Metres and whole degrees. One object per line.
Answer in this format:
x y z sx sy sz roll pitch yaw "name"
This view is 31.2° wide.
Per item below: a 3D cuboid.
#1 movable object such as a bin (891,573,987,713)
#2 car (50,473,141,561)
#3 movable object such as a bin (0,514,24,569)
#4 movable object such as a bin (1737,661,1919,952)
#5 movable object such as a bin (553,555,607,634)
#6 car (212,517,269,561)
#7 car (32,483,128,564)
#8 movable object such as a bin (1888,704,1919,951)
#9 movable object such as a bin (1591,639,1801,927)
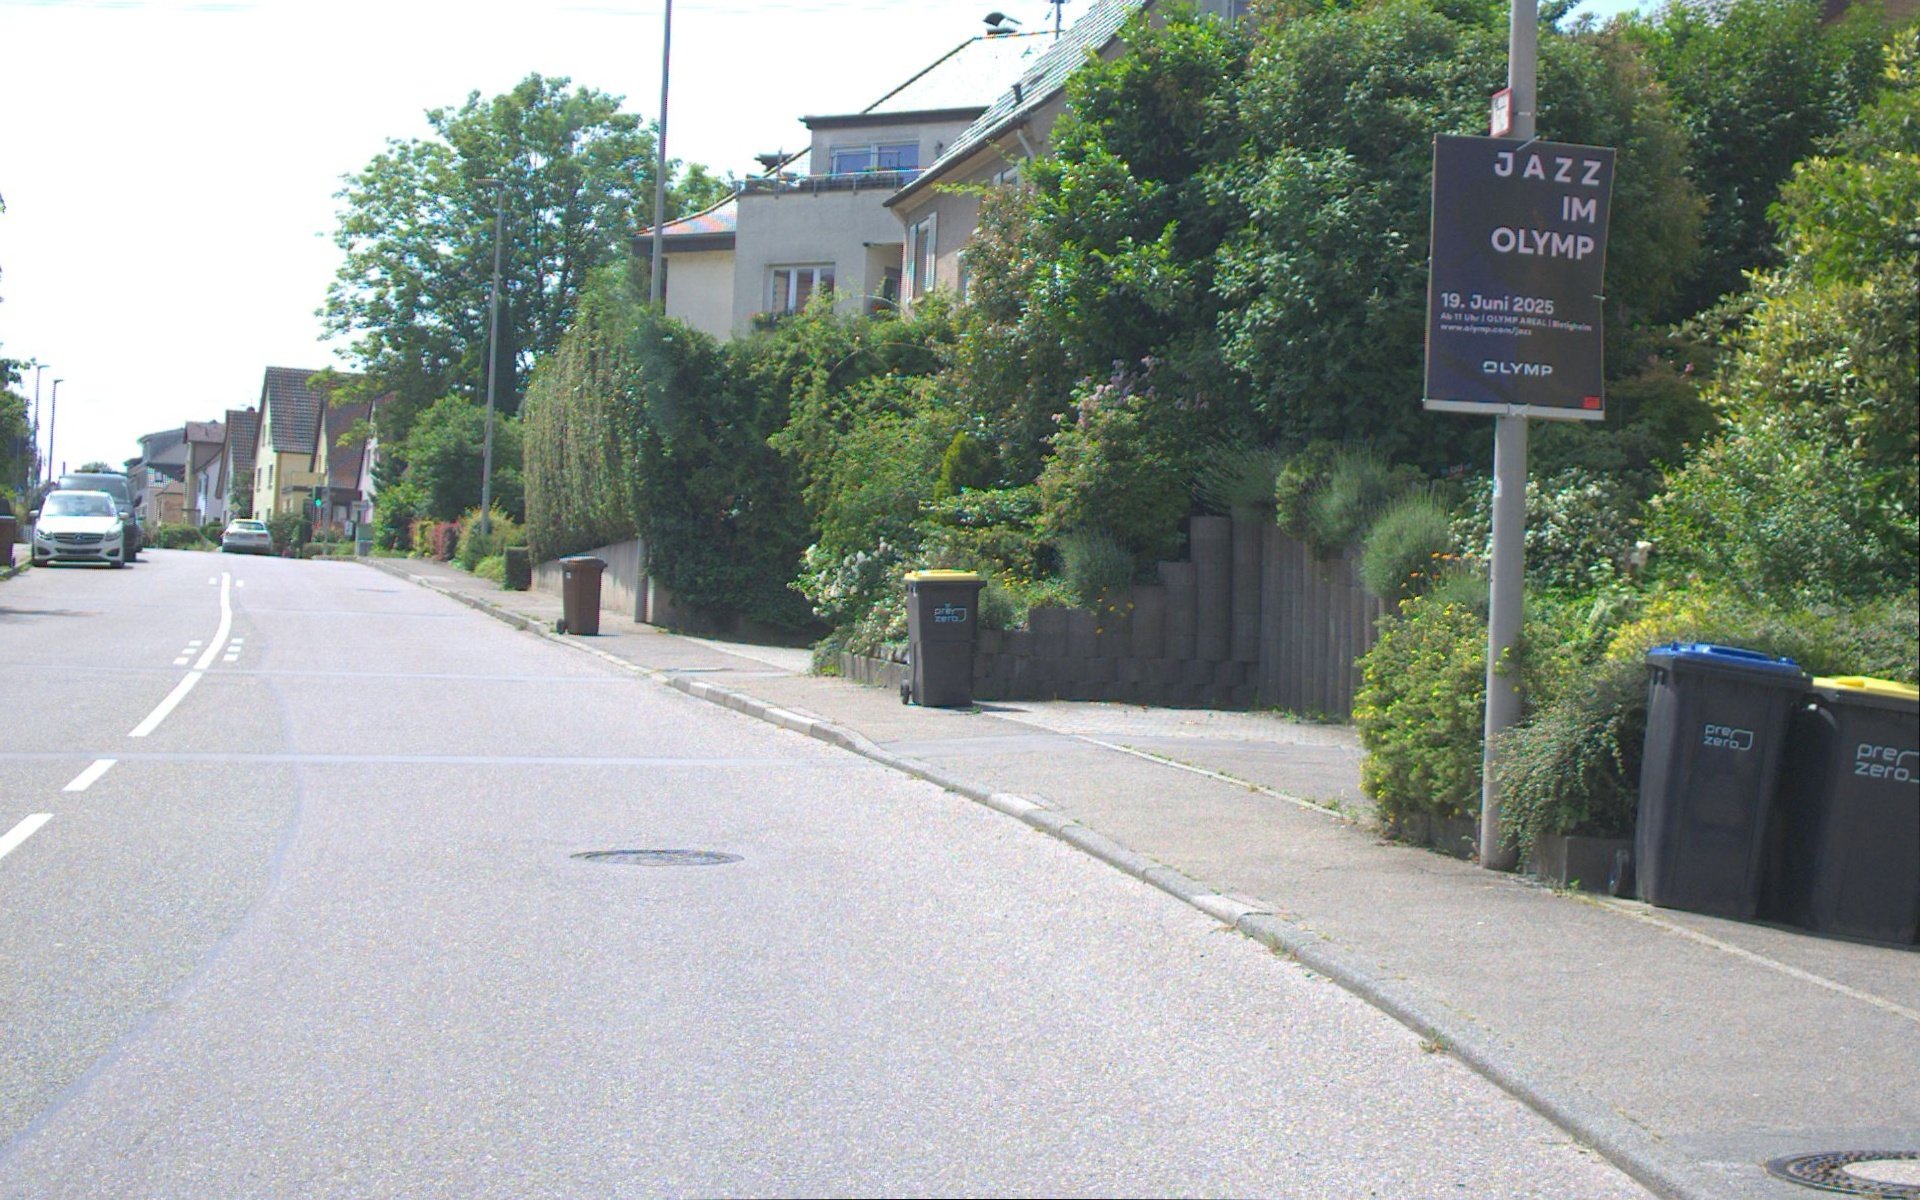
-0.170 0.333 27.280 0.588 1.055 0.920 2 1 -10 "movable object such as a bin"
-19.774 -1.923 78.523 1.896 1.913 4.872 1 2 -15 "car"
-17.624 -1.087 63.561 0.506 0.985 0.563 2 1 -6 "movable object such as a bin"
3.594 0.824 13.940 0.549 1.065 0.768 7 0 -4 "movable object such as a bin"
-4.810 -0.073 43.467 0.588 0.974 0.786 0 1 -13 "movable object such as a bin"
-28.007 -2.377 133.781 1.993 1.598 4.001 2 1 -14 "car"
-18.242 -1.607 71.273 1.810 1.544 4.245 2 1 -15 "car"
4.194 0.919 13.867 0.549 1.065 0.673 8 0 -4 "movable object such as a bin"
2.989 0.732 14.007 0.549 1.065 0.659 7 0 -4 "movable object such as a bin"
